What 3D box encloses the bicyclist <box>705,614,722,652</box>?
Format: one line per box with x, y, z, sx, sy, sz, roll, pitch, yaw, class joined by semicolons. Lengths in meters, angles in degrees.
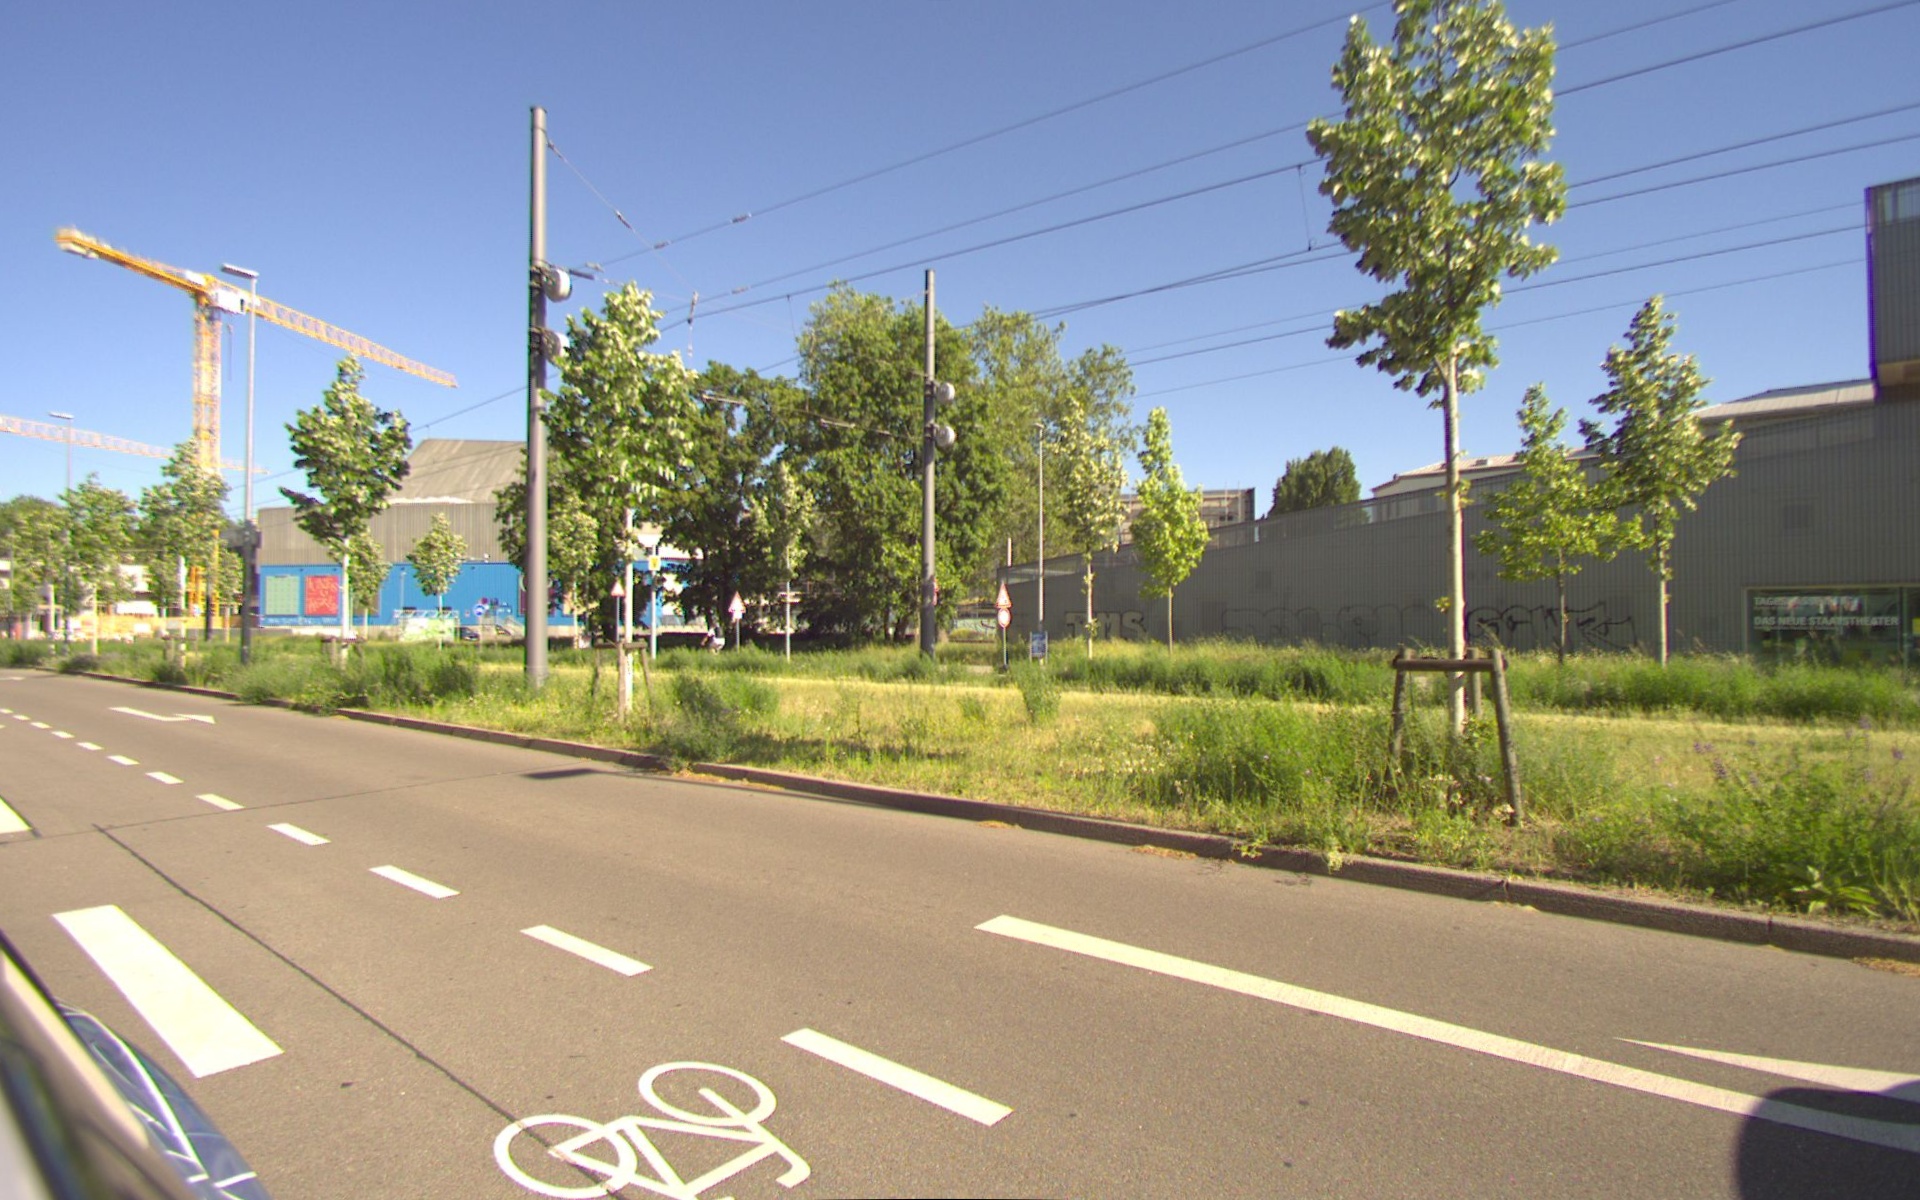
-9.527;1.264;39.132;0.539;1.465;0.390;-2;0;40;bicyclist

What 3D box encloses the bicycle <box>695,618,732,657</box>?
-9.556;1.448;39.166;1.912;1.466;0.356;-2;-2;41;bicycle

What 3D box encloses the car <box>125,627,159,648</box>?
-76.485;3.503;94.603;3.998;1.811;1.779;-1;1;41;car
